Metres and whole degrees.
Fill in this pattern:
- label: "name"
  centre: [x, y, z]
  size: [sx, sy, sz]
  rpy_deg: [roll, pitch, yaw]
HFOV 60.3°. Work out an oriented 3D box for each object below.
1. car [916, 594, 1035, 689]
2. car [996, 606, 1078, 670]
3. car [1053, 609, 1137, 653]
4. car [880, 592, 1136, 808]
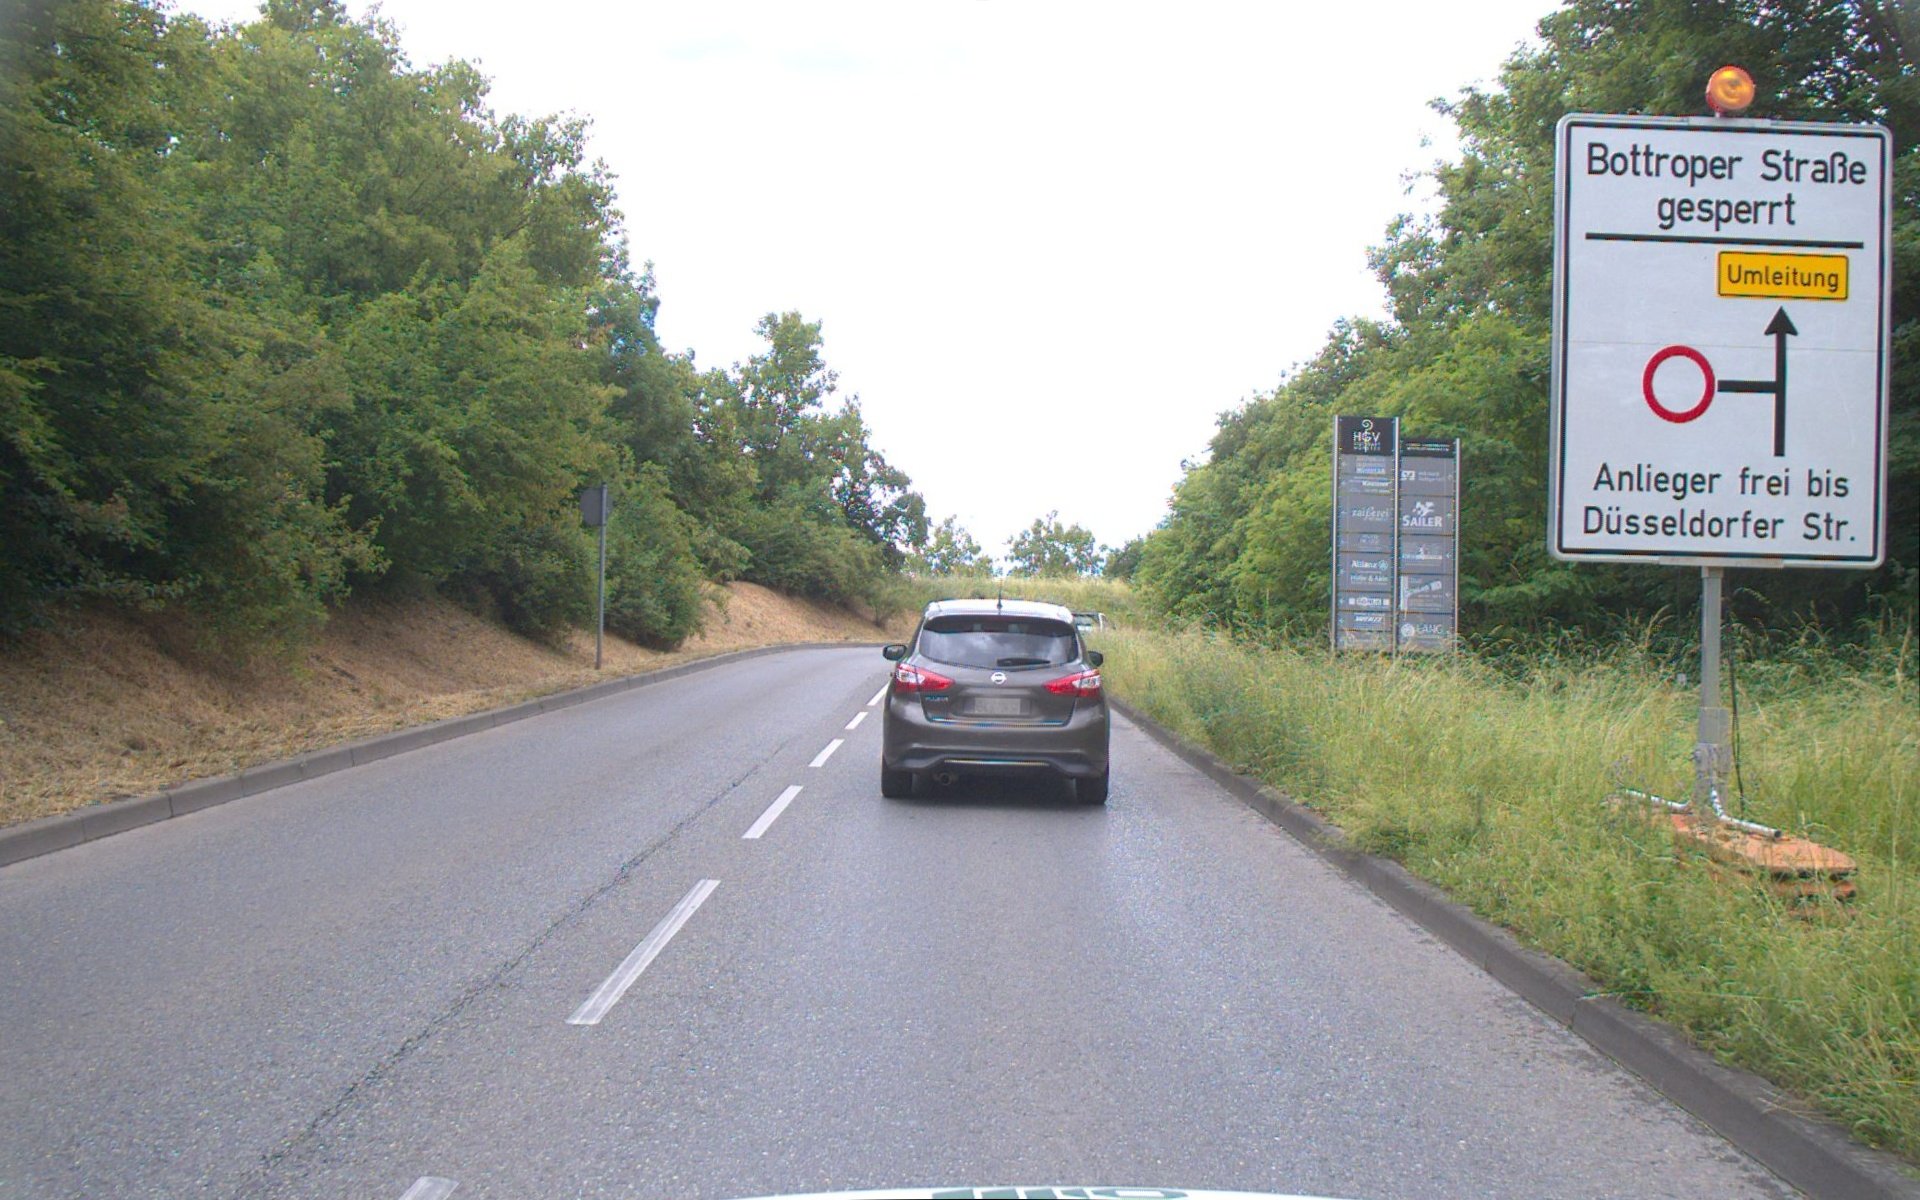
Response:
- label: "car"
  centre: [0.198, 0.656, 28.642]
  size: [1.808, 1.519, 4.225]
  rpy_deg: [0, 0, -3]
- label: "car"
  centre: [1.985, 0.914, 41.810]
  size: [1.684, 1.521, 3.580]
  rpy_deg: [0, 0, 9]
- label: "car"
  centre: [4.642, 1.032, 56.352]
  size: [1.761, 1.422, 4.000]
  rpy_deg: [0, 0, 21]
- label: "car"
  centre: [0.270, 0.719, 13.878]
  size: [1.808, 1.519, 3.998]
  rpy_deg: [1, 0, -2]
